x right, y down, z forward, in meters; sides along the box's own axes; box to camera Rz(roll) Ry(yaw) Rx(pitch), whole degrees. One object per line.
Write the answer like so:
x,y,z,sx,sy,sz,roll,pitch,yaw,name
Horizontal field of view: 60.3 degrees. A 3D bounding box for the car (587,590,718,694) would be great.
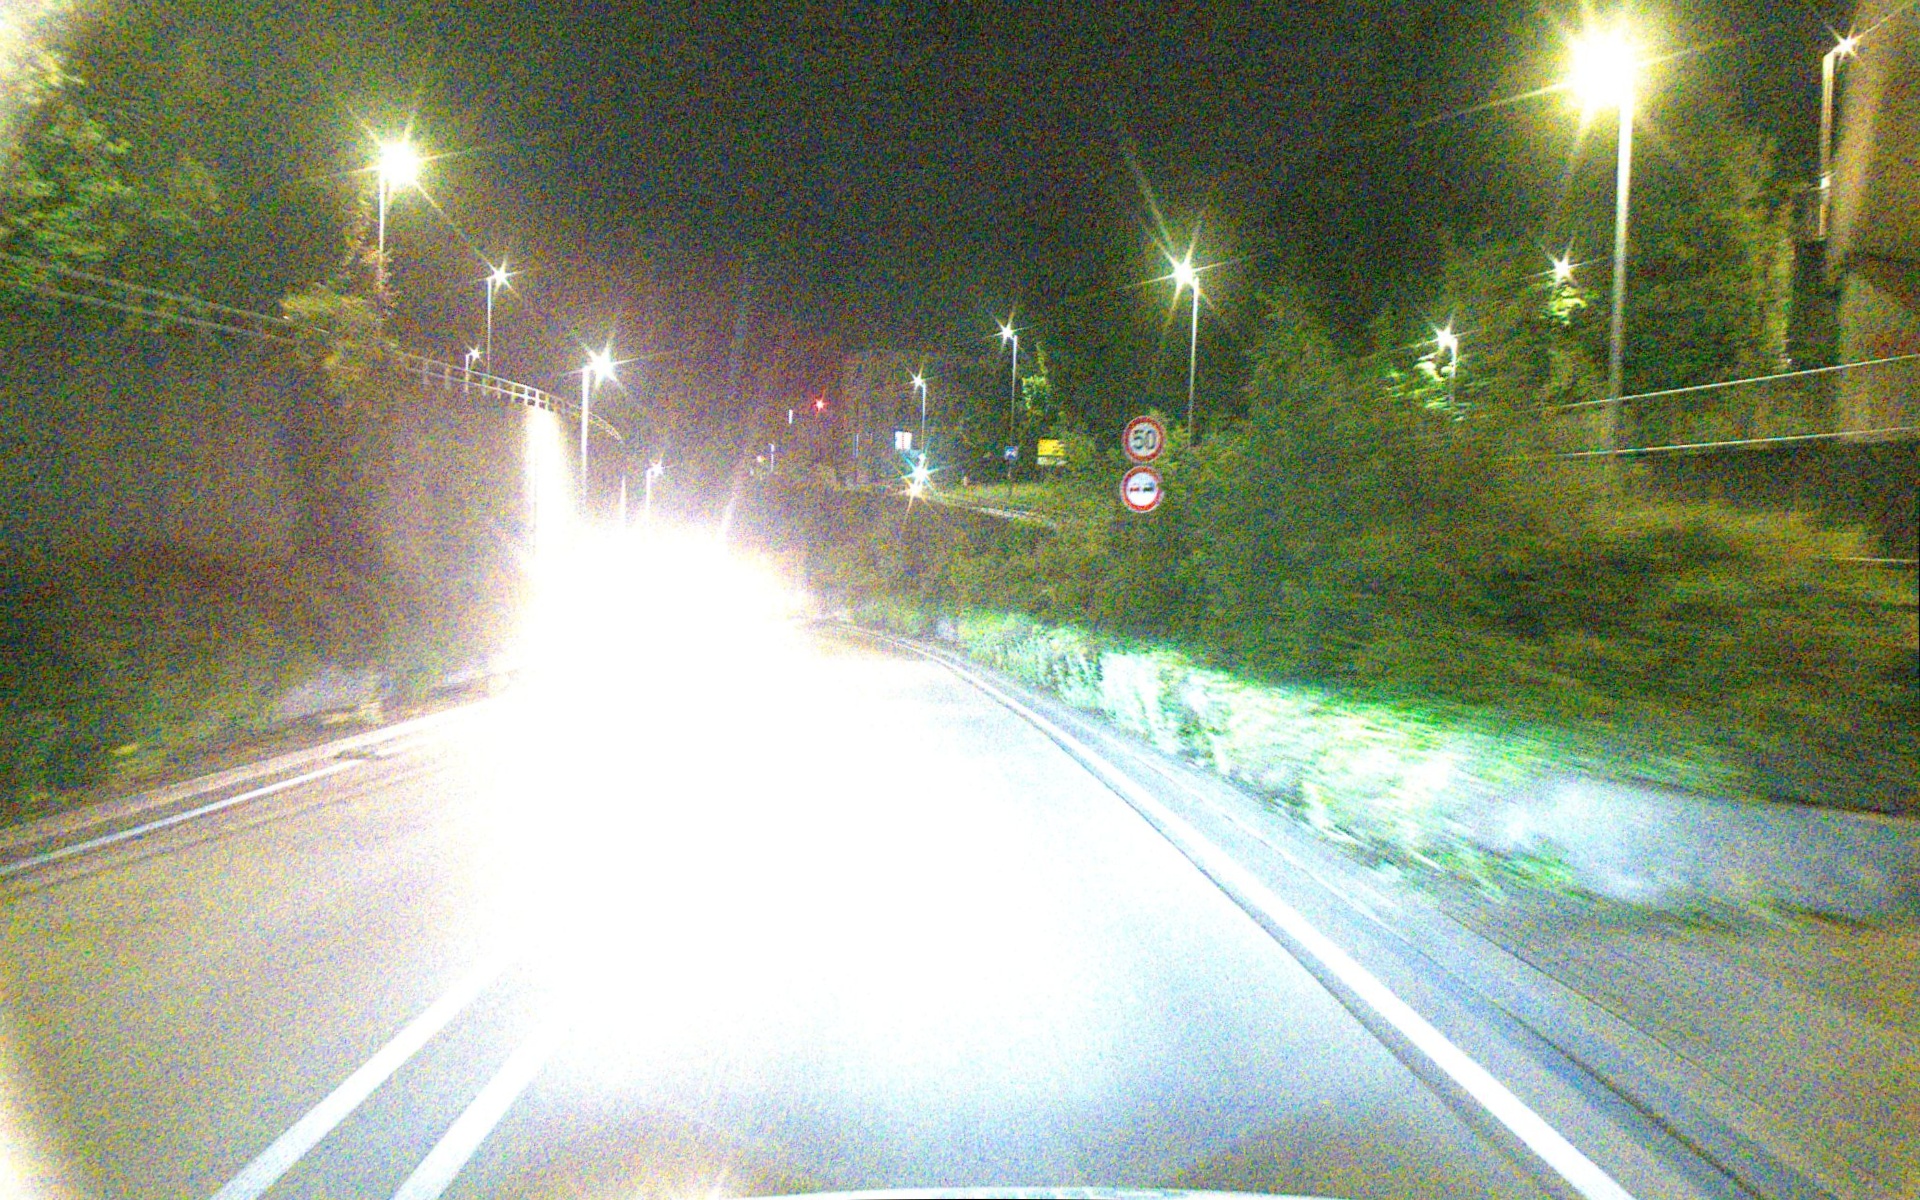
-4.824,0.619,26.393,1.823,1.536,3.993,0,0,-7,car
